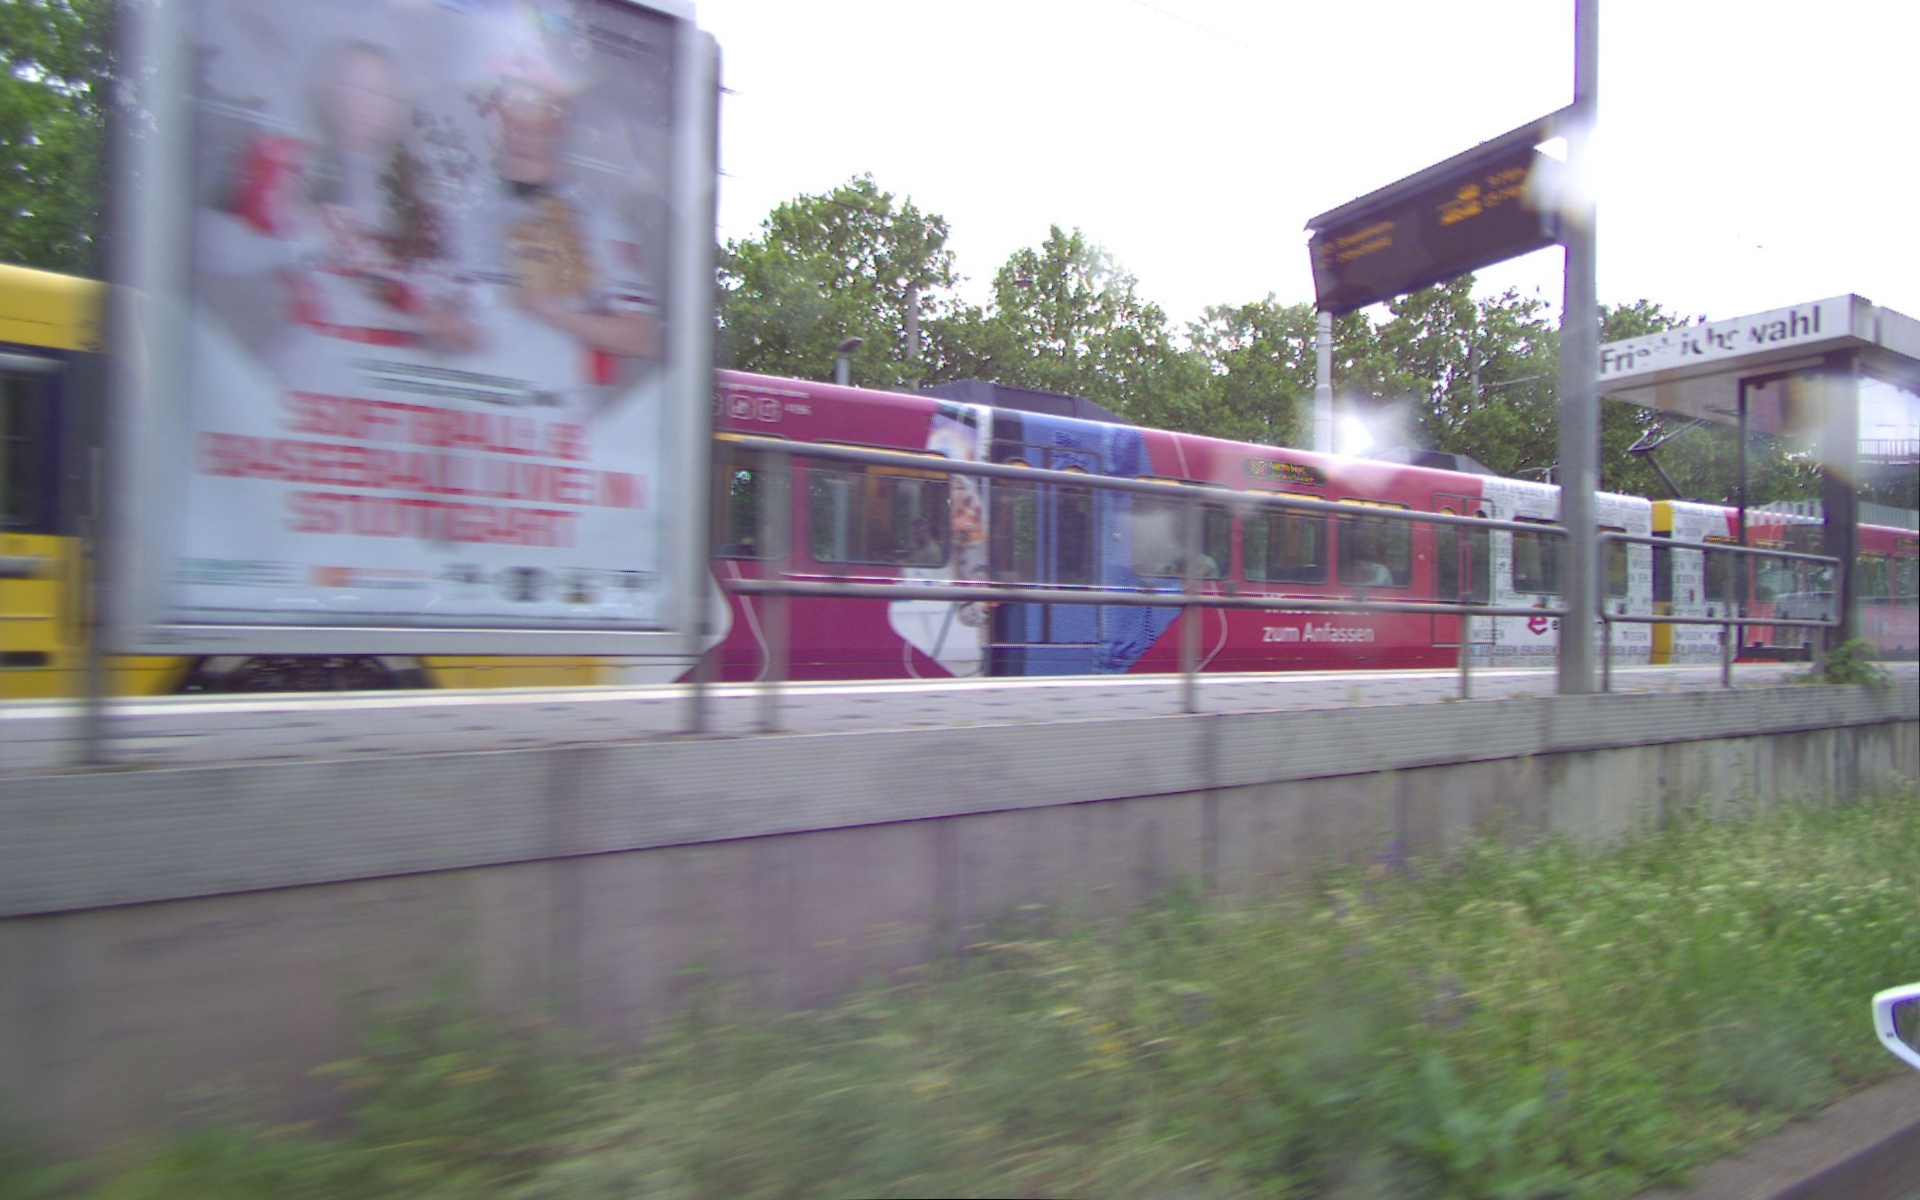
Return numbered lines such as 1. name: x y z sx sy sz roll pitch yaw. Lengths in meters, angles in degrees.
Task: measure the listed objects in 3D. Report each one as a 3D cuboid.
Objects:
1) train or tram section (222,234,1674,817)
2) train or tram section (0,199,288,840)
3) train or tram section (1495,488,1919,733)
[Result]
1. train or tram section: 2.577 -0.208 12.924 19.100 4.024 2.854 2 1 -30
2. train or tram section: -13.670 -0.817 3.056 19.121 4.007 2.851 2 1 -33
3. train or tram section: 19.333 0.495 22.087 19.083 4.013 2.857 2 1 -27
